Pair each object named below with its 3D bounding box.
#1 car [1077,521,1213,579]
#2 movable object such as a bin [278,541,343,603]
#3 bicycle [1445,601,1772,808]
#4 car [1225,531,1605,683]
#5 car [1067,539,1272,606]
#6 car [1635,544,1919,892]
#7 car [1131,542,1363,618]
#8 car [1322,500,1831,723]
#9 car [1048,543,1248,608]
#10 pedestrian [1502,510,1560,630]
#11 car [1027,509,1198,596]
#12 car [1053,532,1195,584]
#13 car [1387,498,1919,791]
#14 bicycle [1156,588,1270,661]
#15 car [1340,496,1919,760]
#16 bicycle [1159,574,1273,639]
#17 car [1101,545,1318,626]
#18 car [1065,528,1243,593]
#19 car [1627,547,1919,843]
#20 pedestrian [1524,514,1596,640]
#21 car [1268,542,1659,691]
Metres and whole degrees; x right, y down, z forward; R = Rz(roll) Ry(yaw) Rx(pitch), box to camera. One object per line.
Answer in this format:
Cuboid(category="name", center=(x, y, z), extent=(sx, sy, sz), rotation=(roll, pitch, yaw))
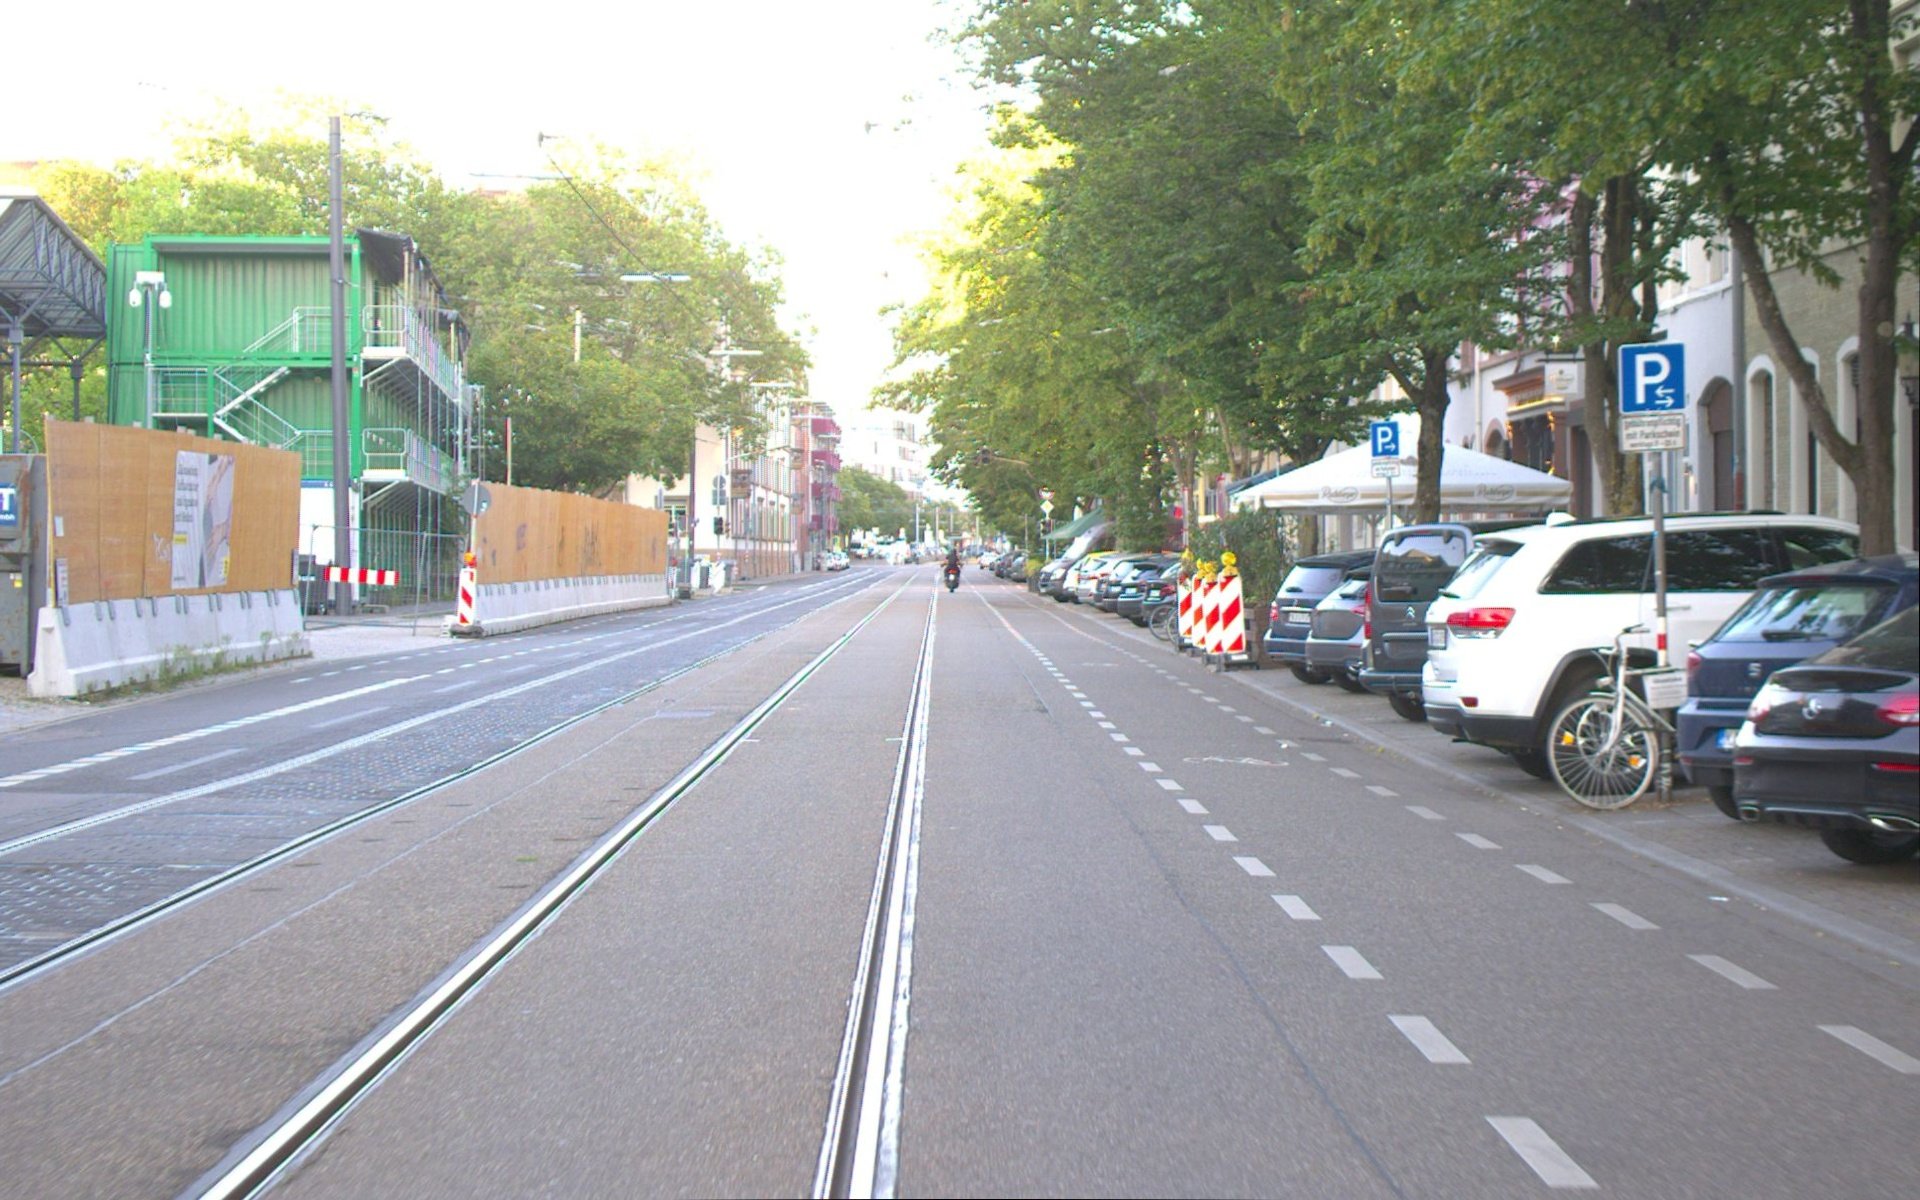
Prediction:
Cuboid(category="car", center=(5.541, -1.491, 103.374), extent=(3.950, 1.614, 1.921), rotation=(-2, 0, 1))
Cuboid(category="movable object such as a bin", center=(-14.298, -0.618, 75.703), extent=(1.306, 1.365, 0.784), rotation=(0, 1, -3))
Cuboid(category="bicycle", center=(3.887, 0.611, 20.615), extent=(1.835, 1.099, 0.498), rotation=(-4, 2, -14))
Cuboid(category="car", center=(5.191, 0.064, 39.215), extent=(3.961, 1.548, 1.706), rotation=(-2, 1, -25))
Cuboid(category="car", center=(4.711, -0.630, 77.266), extent=(4.115, 1.465, 2.016), rotation=(-1, 1, -24))
Cuboid(category="car", center=(5.537, 0.411, 16.113), extent=(4.211, 1.422, 1.976), rotation=(-3, 1, -22))
Cuboid(category="car", center=(5.630, -0.409, 67.513), extent=(4.160, 1.422, 1.824), rotation=(-1, 1, -19))
Cuboid(category="car", center=(5.615, 0.075, 31.263), extent=(4.147, 1.800, 2.008), rotation=(-3, 1, -28))
Cuboid(category="car", center=(4.465, -0.582, 81.722), extent=(4.249, 1.387, 2.016), rotation=(-2, 1, -23))
Cuboid(category="pedestrian", center=(8.400, -0.447, 50.593), extent=(0.550, 1.757, 0.853), rotation=(0, 1, -12))
Cuboid(category="car", center=(4.956, -1.535, 111.928), extent=(5.093, 2.633, 2.022), rotation=(-2, 0, -17))
Cuboid(category="car", center=(5.105, -1.311, 107.242), extent=(3.950, 1.481, 1.921), rotation=(-2, 0, -24))
Cuboid(category="car", center=(5.298, 0.226, 22.561), extent=(4.648, 1.682, 2.008), rotation=(-3, 1, -1))
Cuboid(category="bicycle", center=(3.941, 0.378, 53.608), extent=(1.678, 1.028, 0.557), rotation=(-3, 1, -2))
Cuboid(category="car", center=(5.325, 0.158, 25.397), extent=(4.648, 1.682, 2.008), rotation=(-3, 1, -4))
Cuboid(category="bicycle", center=(4.511, 0.105, 60.531), extent=(1.903, 1.028, 0.533), rotation=(-3, 1, -2))
Cuboid(category="car", center=(5.247, -0.310, 72.378), extent=(4.115, 1.465, 1.824), rotation=(-3, 1, -17))
Cuboid(category="car", center=(5.049, -1.030, 89.948), extent=(4.249, 1.543, 2.020), rotation=(-2, 1, -11))
Cuboid(category="car", center=(5.755, 0.410, 18.843), extent=(3.746, 1.422, 1.728), rotation=(-4, 1, -24))
Cuboid(category="pedestrian", center=(8.460, -0.333, 48.470), extent=(0.702, 1.757, 0.715), rotation=(-1, 1, -30))
Cuboid(category="car", center=(5.382, 0.157, 36.717), extent=(3.772, 1.403, 1.706), rotation=(-2, 1, -25))
